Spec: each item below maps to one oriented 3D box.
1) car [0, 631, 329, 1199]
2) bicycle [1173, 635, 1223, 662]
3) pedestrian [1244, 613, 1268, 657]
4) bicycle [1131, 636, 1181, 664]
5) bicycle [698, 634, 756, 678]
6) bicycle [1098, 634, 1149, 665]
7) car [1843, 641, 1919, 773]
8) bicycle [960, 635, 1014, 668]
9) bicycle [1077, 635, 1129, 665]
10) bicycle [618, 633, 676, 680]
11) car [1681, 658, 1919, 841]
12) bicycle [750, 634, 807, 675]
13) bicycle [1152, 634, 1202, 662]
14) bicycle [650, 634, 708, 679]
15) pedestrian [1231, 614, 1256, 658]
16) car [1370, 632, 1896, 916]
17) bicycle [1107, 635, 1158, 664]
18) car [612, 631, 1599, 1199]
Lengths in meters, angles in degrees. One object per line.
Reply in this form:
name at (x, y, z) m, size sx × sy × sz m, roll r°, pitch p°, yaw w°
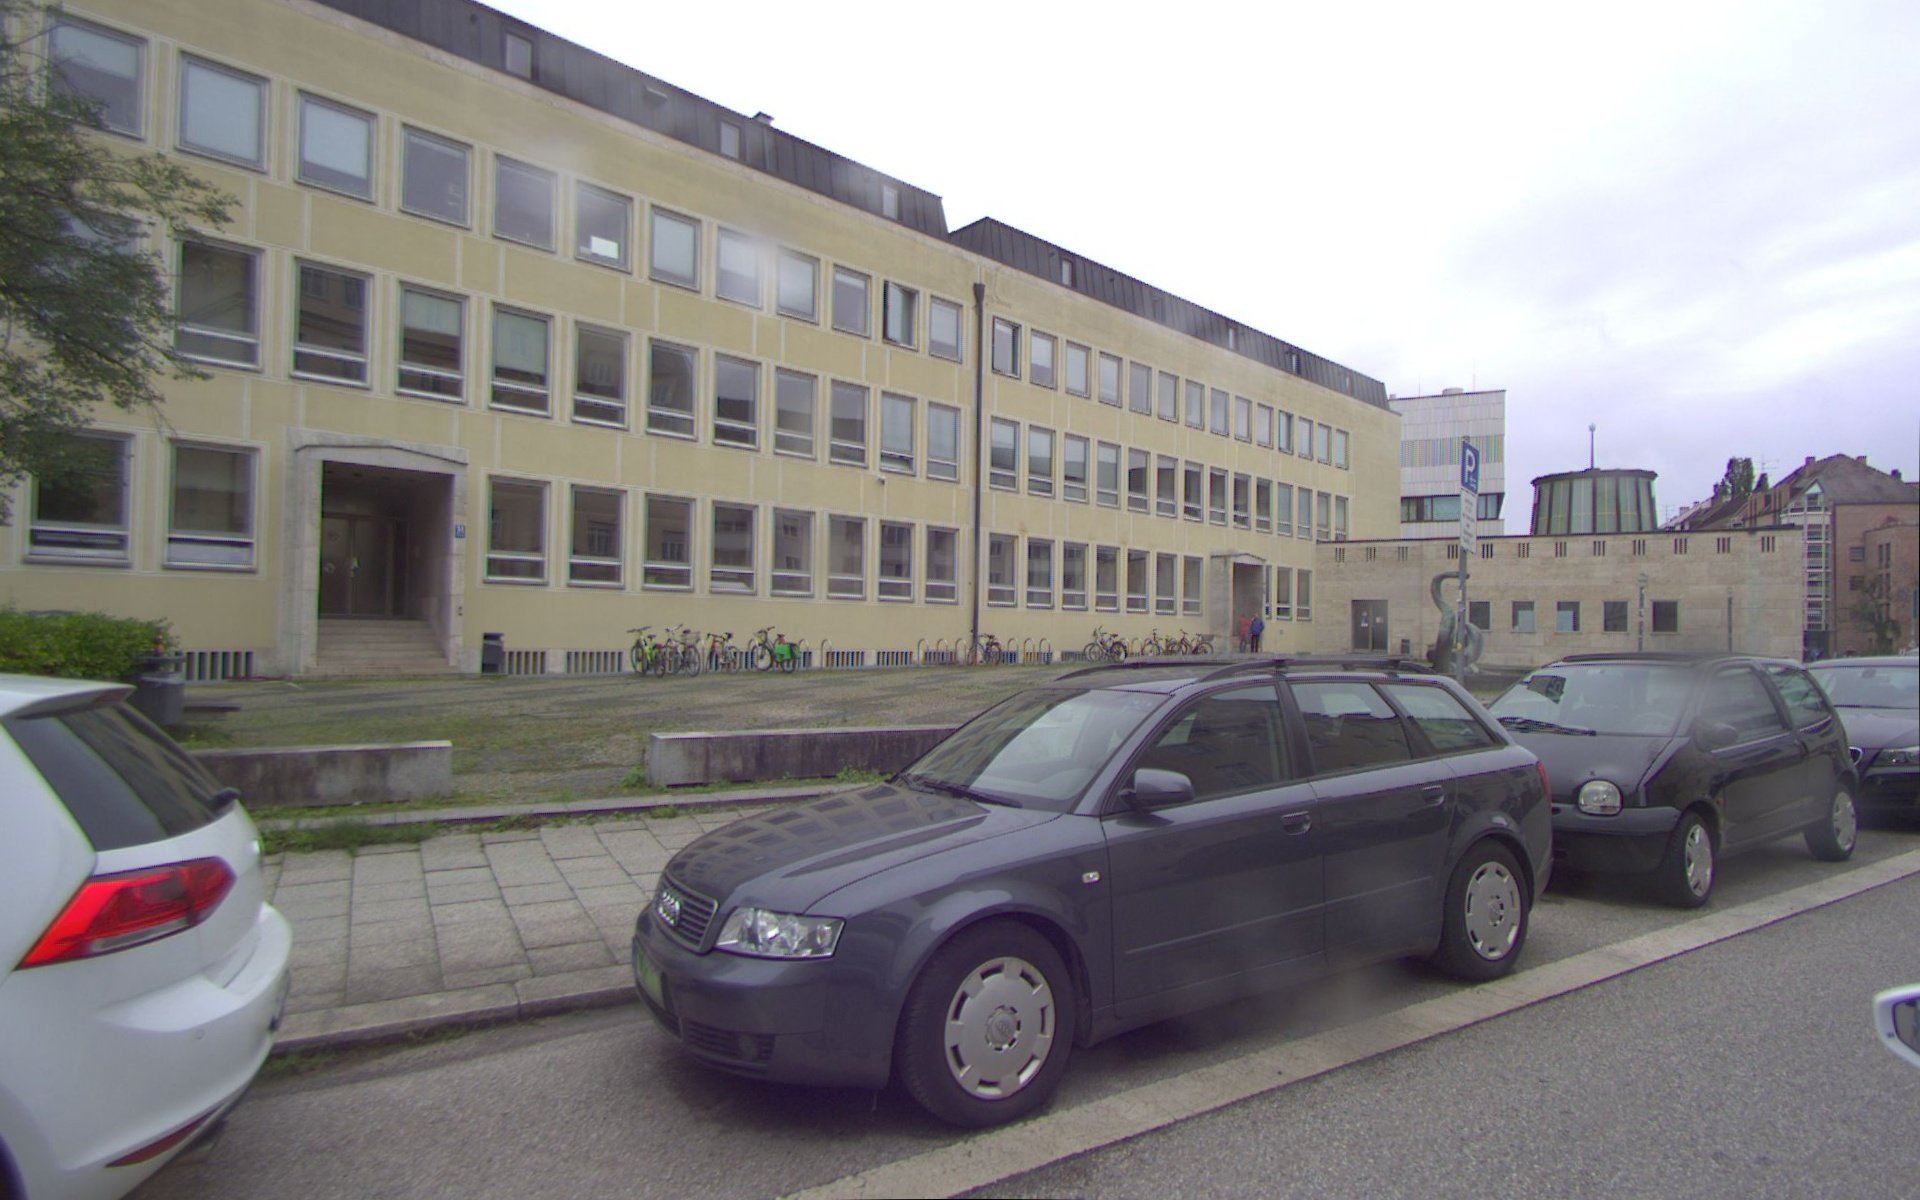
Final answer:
car at (-3.577, 0.817, 1.910) m, size 3.956 × 1.550 × 1.712 m, roll 2°, pitch -3°, yaw -32°
bicycle at (9.092, 1.836, 38.447) m, size 0.435 × 0.929 × 1.882 m, roll 2°, pitch 0°, yaw -44°
pedestrian at (12.359, 1.455, 41.987) m, size 0.706 × 1.767 × 0.643 m, roll 2°, pitch 0°, yaw 43°
bicycle at (7.220, 1.825, 37.072) m, size 0.435 × 0.929 × 1.882 m, roll 2°, pitch 0°, yaw -44°
bicycle at (-5.655, 1.338, 24.276) m, size 0.435 × 0.929 × 1.882 m, roll 2°, pitch 0°, yaw -44°
bicycle at (5.738, 1.731, 35.318) m, size 0.528 × 0.953 × 1.862 m, roll 2°, pitch 0°, yaw -40°
car at (12.077, 1.245, 11.944) m, size 2.838 × 1.478 × 1.657 m, roll 2°, pitch -4°, yaw -34°
bicycle at (0.824, 1.586, 31.179) m, size 0.435 × 0.929 × 1.882 m, roll 2°, pitch 0°, yaw -44°
bicycle at (4.931, 1.717, 34.705) m, size 0.435 × 0.929 × 1.882 m, roll 2°, pitch 0°, yaw -44°
bicycle at (-7.106, 1.270, 22.777) m, size 0.435 × 0.929 × 1.882 m, roll 2°, pitch 0°, yaw -44°
car at (8.706, 1.255, 9.429) m, size 4.166 × 1.381 × 1.712 m, roll 2°, pitch -3°, yaw -32°
bicycle at (-4.588, 1.359, 25.303) m, size 0.435 × 0.929 × 1.882 m, roll 2°, pitch 0°, yaw -44°
bicycle at (8.049, 1.786, 37.315) m, size 0.435 × 0.929 × 1.882 m, roll 2°, pitch 0°, yaw -44°
bicycle at (-6.553, 1.296, 23.333) m, size 0.435 × 0.929 × 1.882 m, roll 2°, pitch 0°, yaw -44°
pedestrian at (11.640, 1.463, 41.202) m, size 0.706 × 1.767 × 0.643 m, roll 2°, pitch 0°, yaw 43°
car at (4.799, 1.027, 7.074) m, size 3.713 × 1.500 × 1.712 m, roll 2°, pitch -3°, yaw -32°
bicycle at (6.152, 1.775, 35.983) m, size 0.435 × 0.929 × 1.882 m, roll 2°, pitch 0°, yaw -44°
car at (0.828, 0.942, 4.395) m, size 4.159 × 1.500 × 1.712 m, roll 2°, pitch -3°, yaw -32°
